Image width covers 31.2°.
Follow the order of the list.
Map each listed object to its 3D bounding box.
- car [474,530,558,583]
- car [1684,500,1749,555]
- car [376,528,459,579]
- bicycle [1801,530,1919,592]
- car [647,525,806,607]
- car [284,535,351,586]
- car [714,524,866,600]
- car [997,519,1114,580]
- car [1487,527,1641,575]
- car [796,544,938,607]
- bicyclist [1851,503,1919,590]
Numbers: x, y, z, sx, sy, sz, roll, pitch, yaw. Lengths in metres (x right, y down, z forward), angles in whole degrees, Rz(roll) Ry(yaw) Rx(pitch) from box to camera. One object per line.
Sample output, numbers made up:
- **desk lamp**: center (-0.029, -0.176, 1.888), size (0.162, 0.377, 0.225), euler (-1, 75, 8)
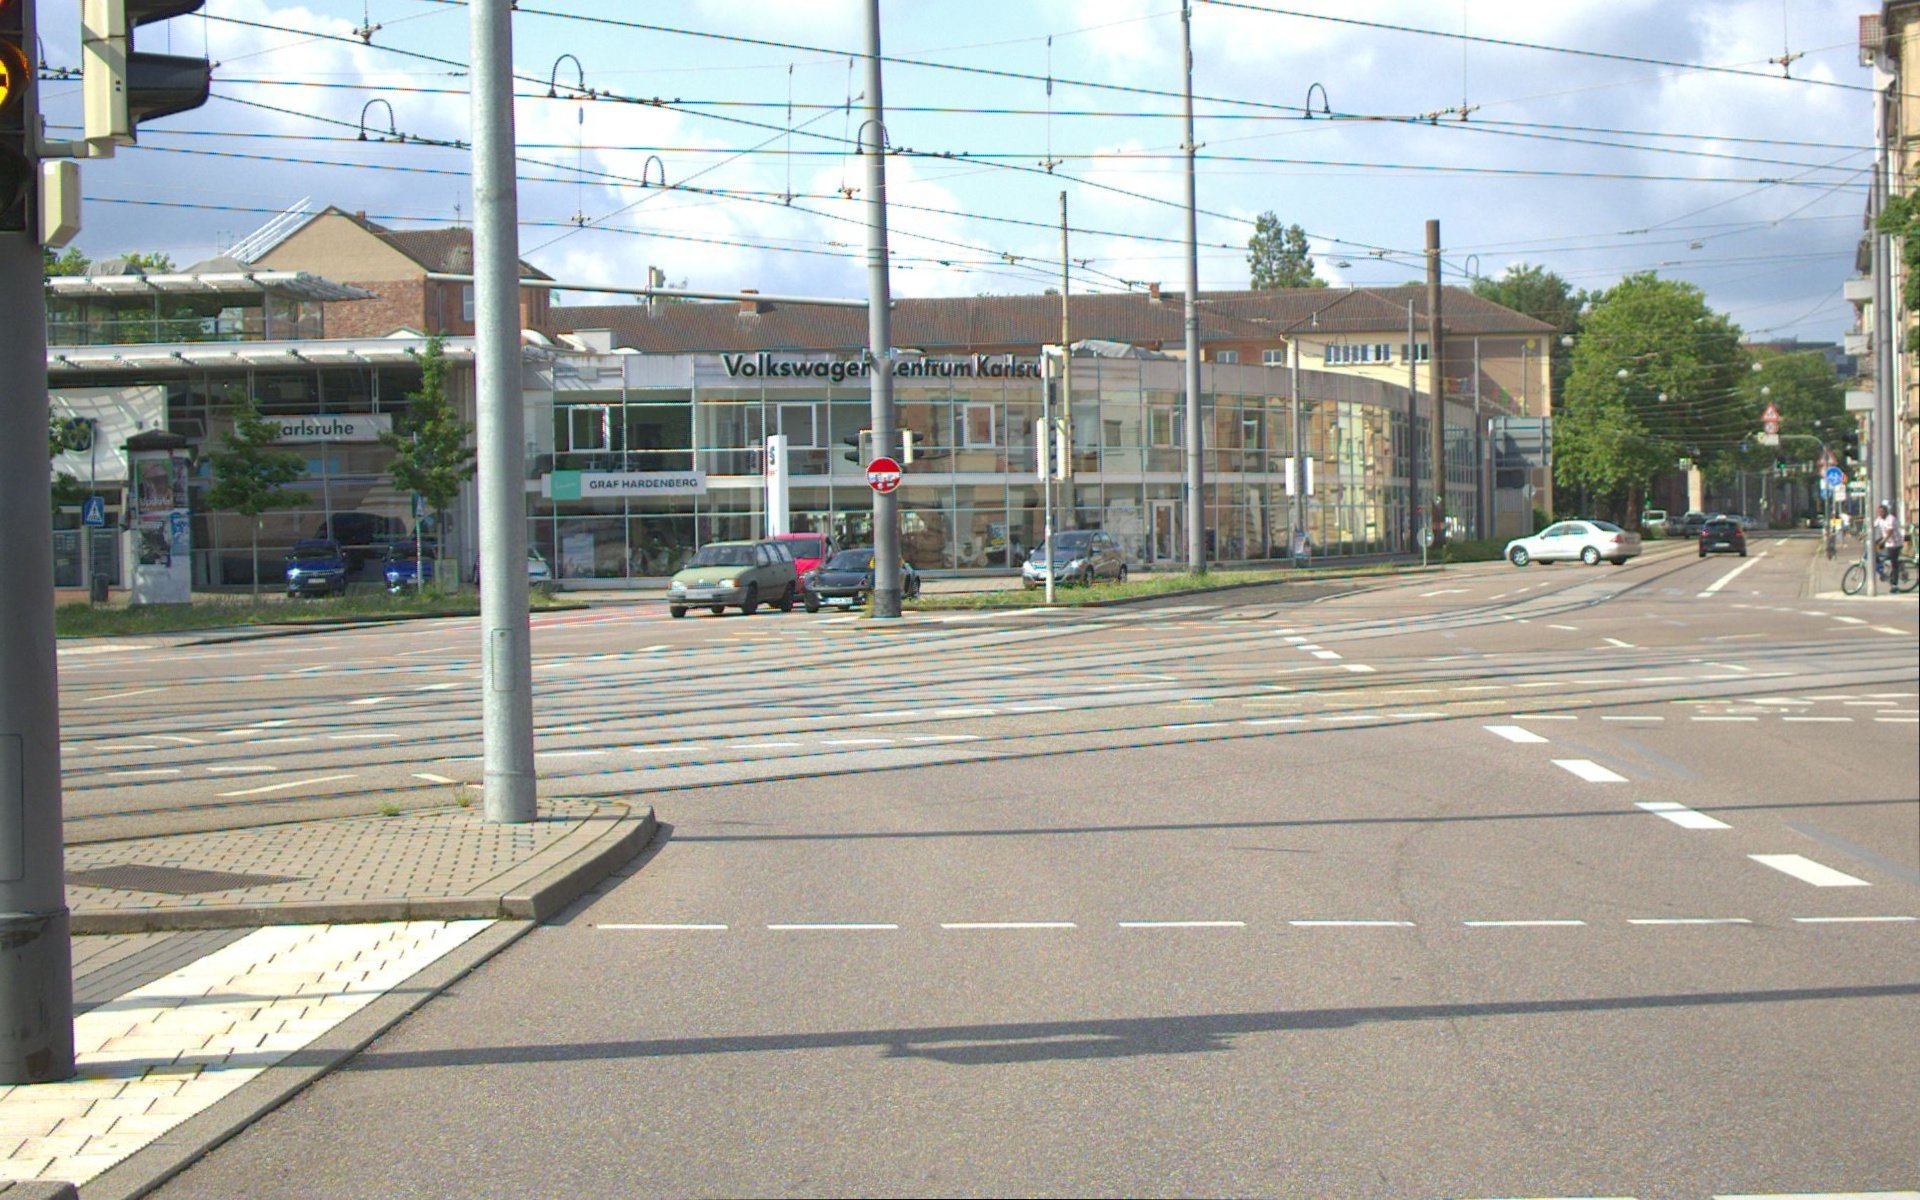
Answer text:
- **car**: center (-13.449, -1.331, 104.267), size (1.919, 1.546, 4.000), euler (-1, 1, 1)
- **car**: center (28.321, -2.729, 128.635), size (1.995, 2.007, 3.997), euler (-1, 1, 18)
- **car**: center (-16.094, -1.398, 102.196), size (1.919, 1.440, 4.000), euler (-1, 1, -2)
- **bicycle**: center (17.724, -0.761, 66.521), size (2.671, 1.166, 0.901), euler (-1, 1, -3)
- **car**: center (-4.444, -0.652, 66.084), size (1.822, 1.508, 3.997), euler (1, 1, 15)
- **car**: center (-19.165, -1.189, 102.608), size (1.919, 1.440, 4.001), euler (-1, 1, -10)
- **car**: center (-3.499, -0.780, 71.558), size (1.995, 1.514, 3.997), euler (1, 1, 15)
- **car**: center (2.544, -1.342, 90.658), size (1.995, 1.546, 3.997), euler (-1, 1, 18)
- **car**: center (19.152, -1.569, 109.102), size (4.473, 1.459, 1.779), euler (1, 1, 26)
- **car**: center (-1.741, -0.466, 65.682), size (1.622, 1.157, 3.997), euler (1, 1, 15)
- **bicyclist**: center (17.968, -1.035, 66.532), size (1.193, 1.652, 0.786), euler (-1, 1, -3)
